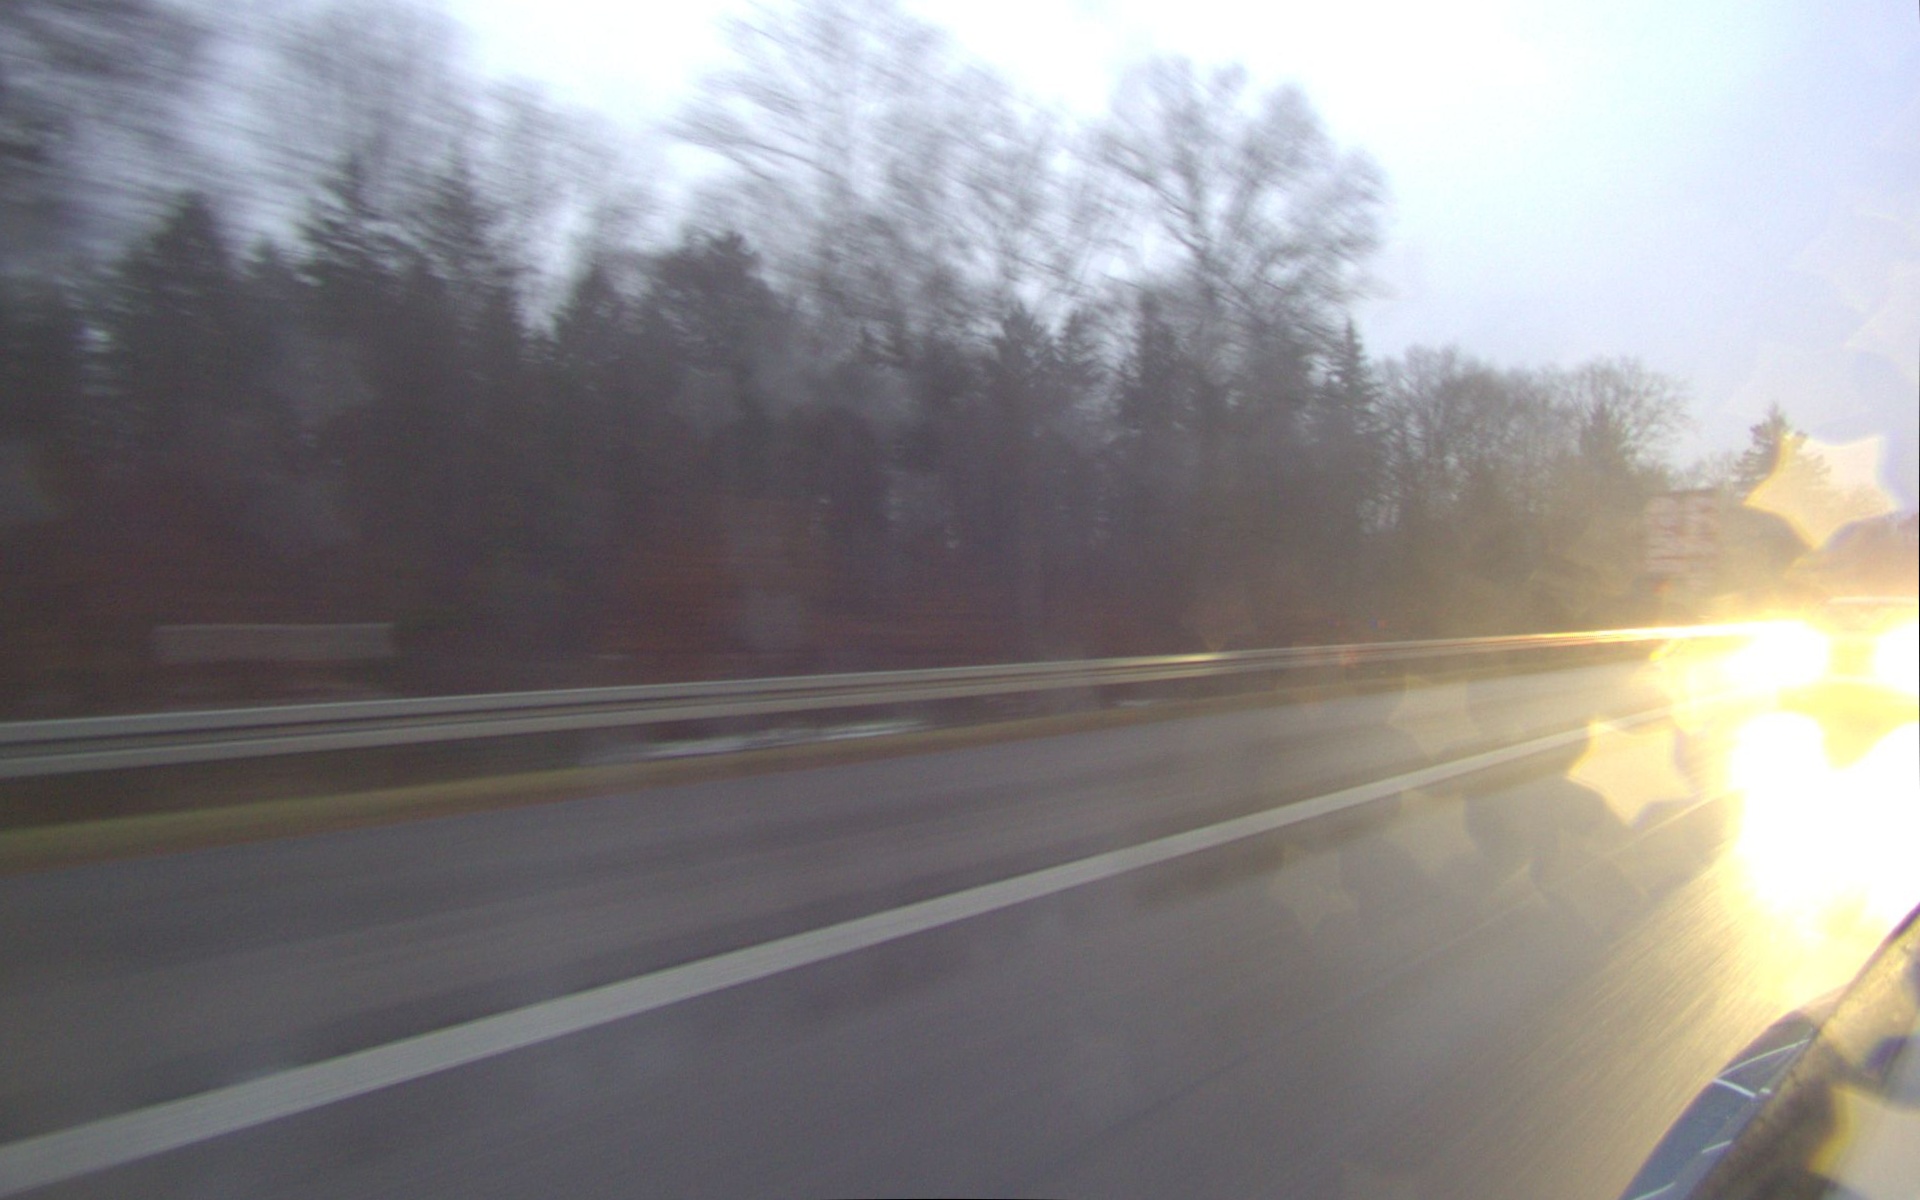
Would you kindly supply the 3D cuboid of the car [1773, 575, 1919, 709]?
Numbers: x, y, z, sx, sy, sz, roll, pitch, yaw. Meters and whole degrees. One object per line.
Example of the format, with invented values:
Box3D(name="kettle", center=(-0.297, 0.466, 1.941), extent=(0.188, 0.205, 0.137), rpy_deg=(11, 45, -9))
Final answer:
Box3D(name="car", center=(13.983, 0.548, 15.369), extent=(3.872, 1.814, 1.927), rpy_deg=(0, 0, -41))
